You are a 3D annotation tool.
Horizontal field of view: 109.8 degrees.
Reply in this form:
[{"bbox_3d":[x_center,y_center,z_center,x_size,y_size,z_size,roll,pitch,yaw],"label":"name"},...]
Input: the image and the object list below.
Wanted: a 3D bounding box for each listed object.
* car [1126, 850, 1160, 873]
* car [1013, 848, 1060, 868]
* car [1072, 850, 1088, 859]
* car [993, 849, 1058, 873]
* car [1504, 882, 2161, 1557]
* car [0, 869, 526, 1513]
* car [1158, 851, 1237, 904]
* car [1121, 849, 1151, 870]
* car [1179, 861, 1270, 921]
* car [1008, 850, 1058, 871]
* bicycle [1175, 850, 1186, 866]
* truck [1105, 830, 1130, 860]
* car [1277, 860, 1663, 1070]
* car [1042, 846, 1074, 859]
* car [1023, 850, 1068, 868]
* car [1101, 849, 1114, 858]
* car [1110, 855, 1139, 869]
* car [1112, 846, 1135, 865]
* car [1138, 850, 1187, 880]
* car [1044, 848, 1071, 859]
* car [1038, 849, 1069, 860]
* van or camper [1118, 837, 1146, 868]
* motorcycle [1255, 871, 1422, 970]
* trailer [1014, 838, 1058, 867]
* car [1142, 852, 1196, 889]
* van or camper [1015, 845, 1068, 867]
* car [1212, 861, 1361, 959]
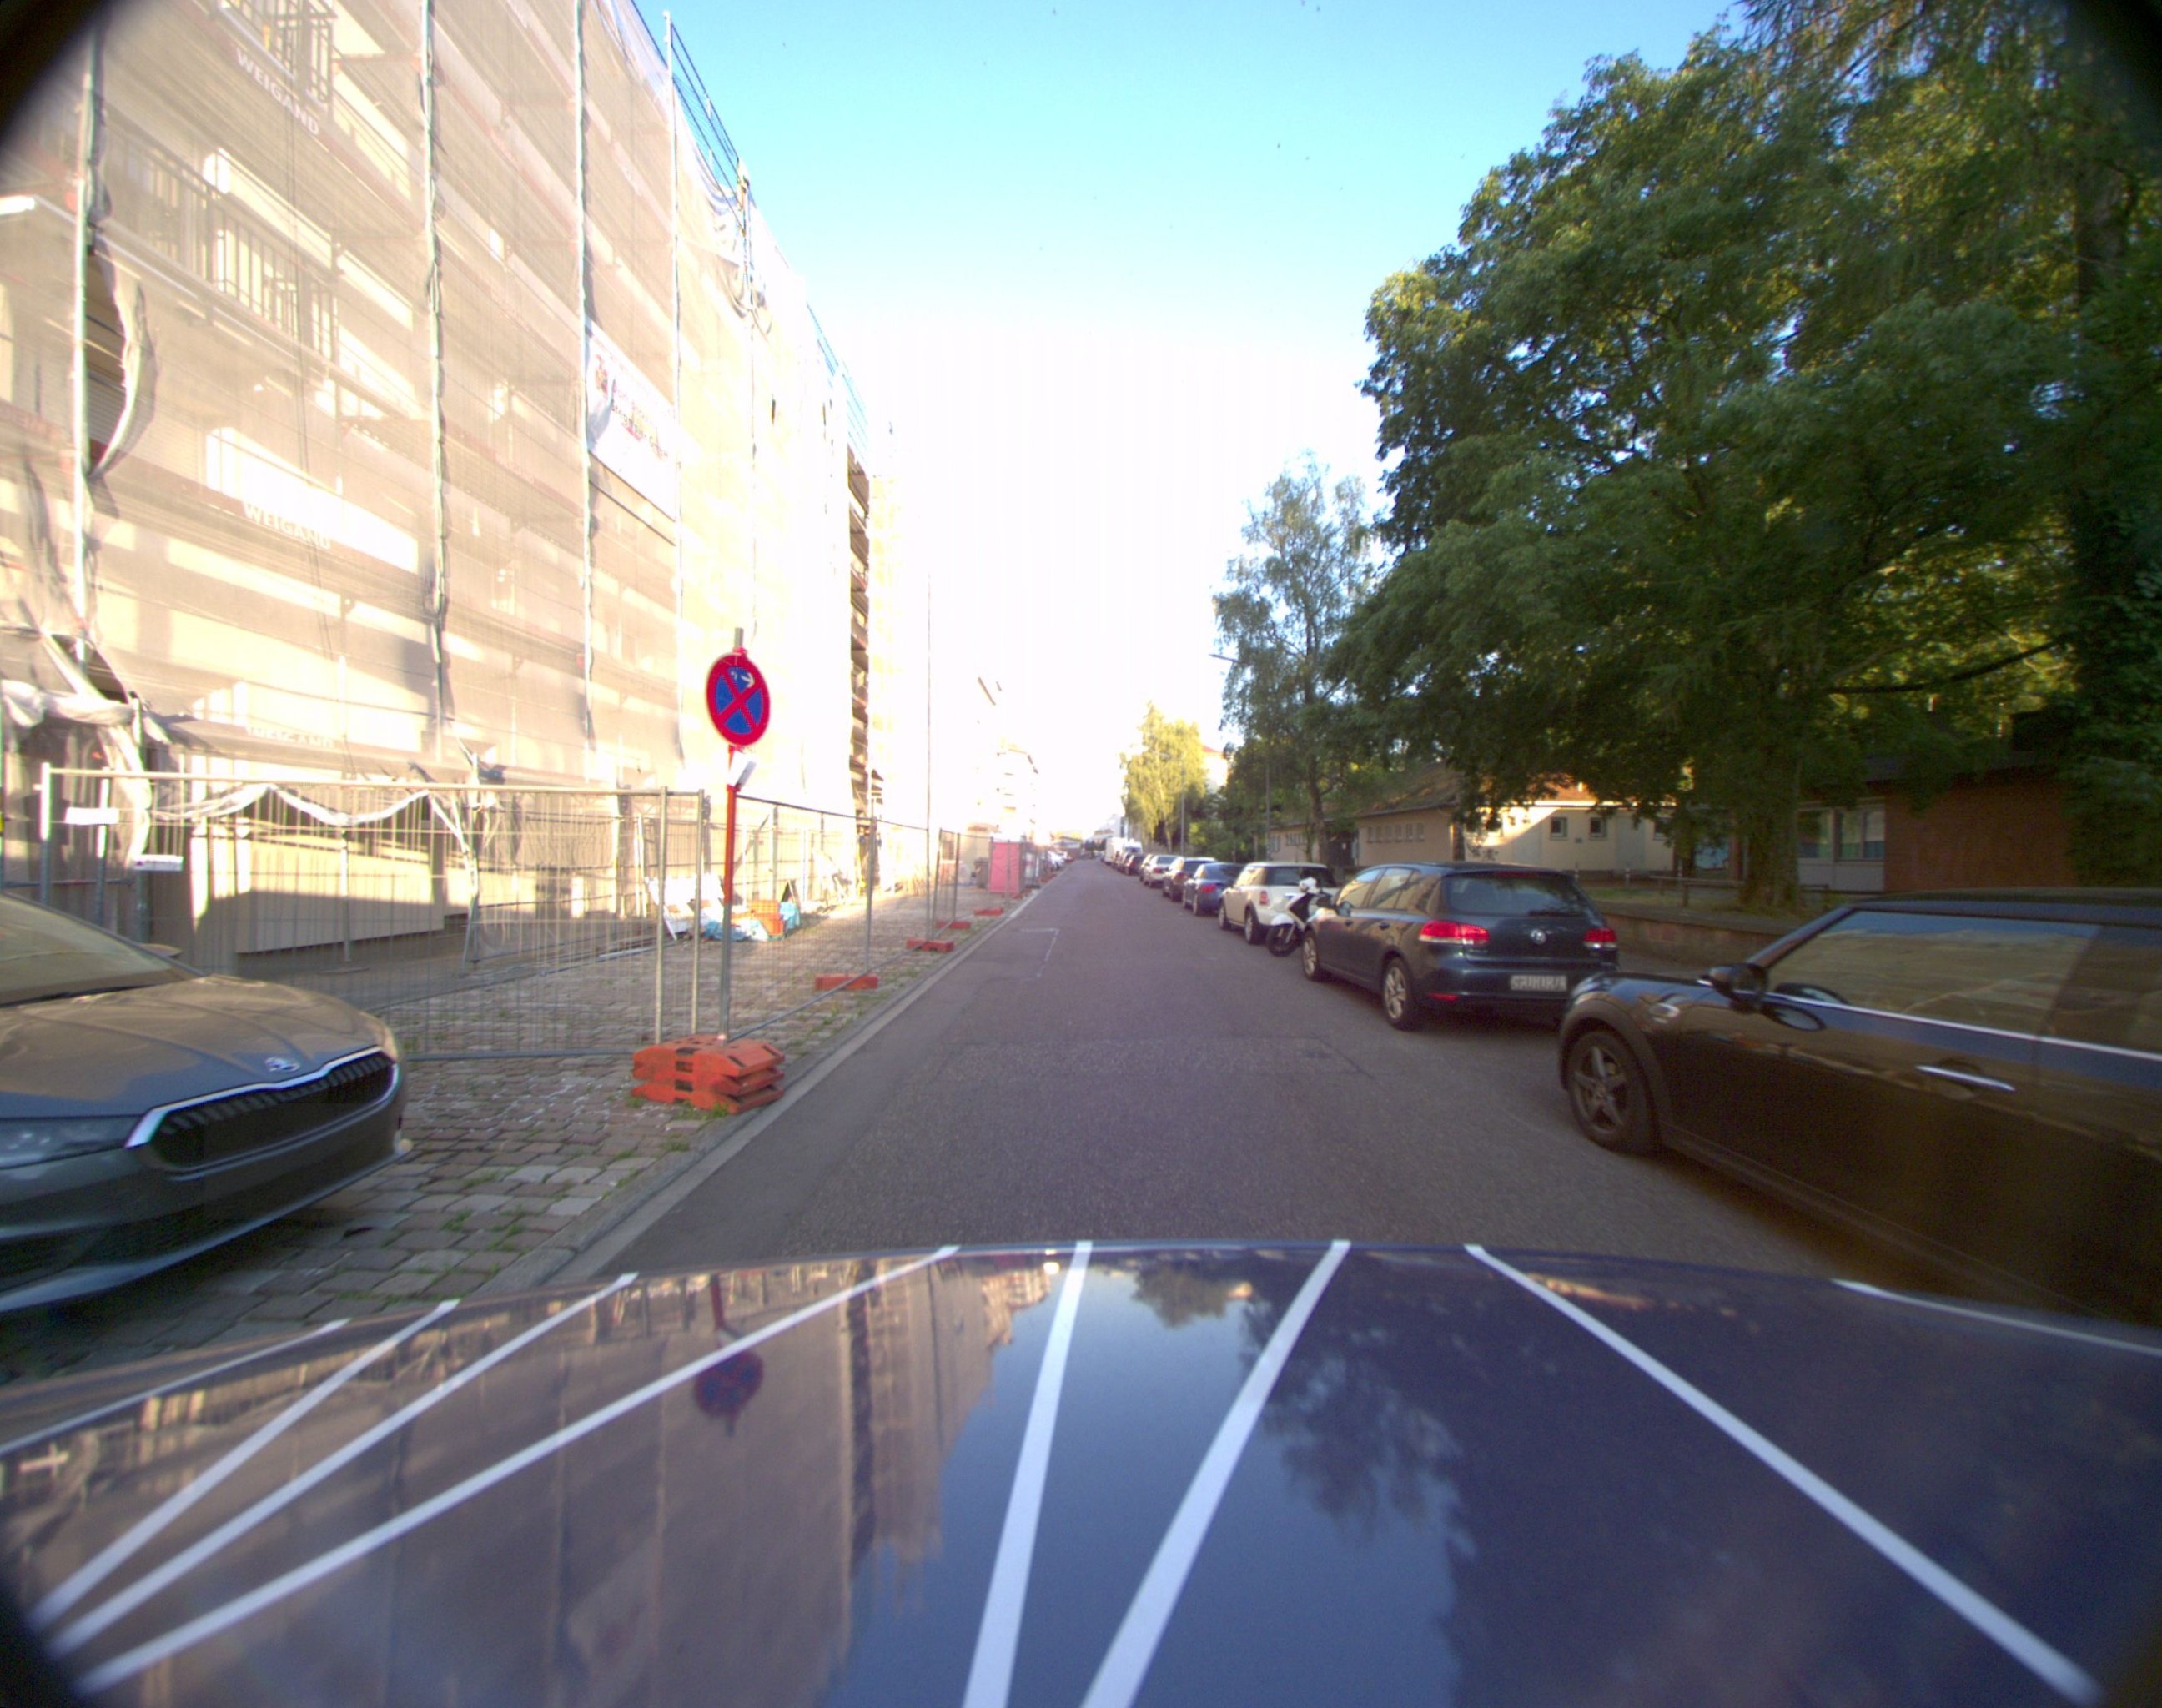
[{"bbox_3d":[4.115,0.500,51.238,1.998,1.444,4.288,0,0,1],"label":"car"},{"bbox_3d":[-3.853,0.343,66.137,3.997,1.718,1.999,0,2,-1],"label":"car"},{"bbox_3d":[-0.198,0.084,133.191,2.000,1.481,4.427,-1,0,-11],"label":"car"},{"bbox_3d":[-3.723,0.473,51.517,4.163,1.606,1.872,0,1,2],"label":"car"},{"bbox_3d":[3.432,0.947,2.729,1.641,1.469,3.992,1,1,2],"label":"car"},{"bbox_3d":[-4.803,0.854,2.762,3.998,1.507,2.018,2,1,-4],"label":"car"},{"bbox_3d":[3.761,0.712,25.376,1.864,1.529,4.758,1,1,0],"label":"car"},{"bbox_3d":[4.114,0.413,57.670,1.998,1.510,4.789,0,0,1],"label":"car"},{"bbox_3d":[3.665,0.888,20.033,1.663,1.306,4.154,1,1,1],"label":"car"},{"bbox_3d":[-3.865,0.493,61.514,3.998,1.628,1.902,0,1,-3],"label":"car"},{"bbox_3d":[7.375,0.300,56.440,0.544,1.111,1.955,-1,0,-1],"label":"bicycle"},{"bbox_3d":[4.330,-1.082,91.509,2.532,3.334,8.016,3,0,0],"label":"truck"},{"bbox_3d":[3.501,0.860,7.924,1.720,1.487,4.360,1,1,-1],"label":"car"},{"bbox_3d":[-3.482,-0.248,114.849,4.685,1.988,2.000,0,1,1],"label":"car"},{"bbox_3d":[-3.169,0.433,68.772,3.997,1.630,1.999,0,1,-1],"label":"car"},{"bbox_3d":[4.677,-0.073,135.271,1.999,1.481,4.431,0,0,-1],"label":"car"},{"bbox_3d":[3.903,0.679,68.702,1.999,1.182,4.034,-1,0,-5],"label":"car"},{"bbox_3d":[4.141,0.157,74.246,1.915,1.777,4.949,1,0,-1],"label":"car"},{"bbox_3d":[4.164,0.546,39.401,1.999,1.444,3.999,-1,0,-2],"label":"car"},{"bbox_3d":[-3.480,-0.042,112.095,3.998,1.619,1.784,0,1,-2],"label":"car"},{"bbox_3d":[-3.886,0.020,107.067,4.311,1.532,1.923,0,1,2],"label":"car"},{"bbox_3d":[4.185,-0.129,63.424,1.998,2.442,6.082,0,0,0],"label":"van or camper"},{"bbox_3d":[3.633,0.925,10.903,2.167,1.296,0.881,-1,1,15],"label":"motorcycle"},{"bbox_3d":[-3.766,-0.126,64.030,3.577,2.323,1.940,2,1,-3],"label":"trailer"},{"bbox_3d":[3.820,0.661,33.658,1.787,1.437,4.747,2,1,0],"label":"car"},{"bbox_3d":[-3.669,0.165,71.504,4.846,2.084,2.040,0,1,0],"label":"van or camper"},{"bbox_3d":[3.592,0.910,13.966,1.605,1.423,3.803,2,1,-1],"label":"car"}]
